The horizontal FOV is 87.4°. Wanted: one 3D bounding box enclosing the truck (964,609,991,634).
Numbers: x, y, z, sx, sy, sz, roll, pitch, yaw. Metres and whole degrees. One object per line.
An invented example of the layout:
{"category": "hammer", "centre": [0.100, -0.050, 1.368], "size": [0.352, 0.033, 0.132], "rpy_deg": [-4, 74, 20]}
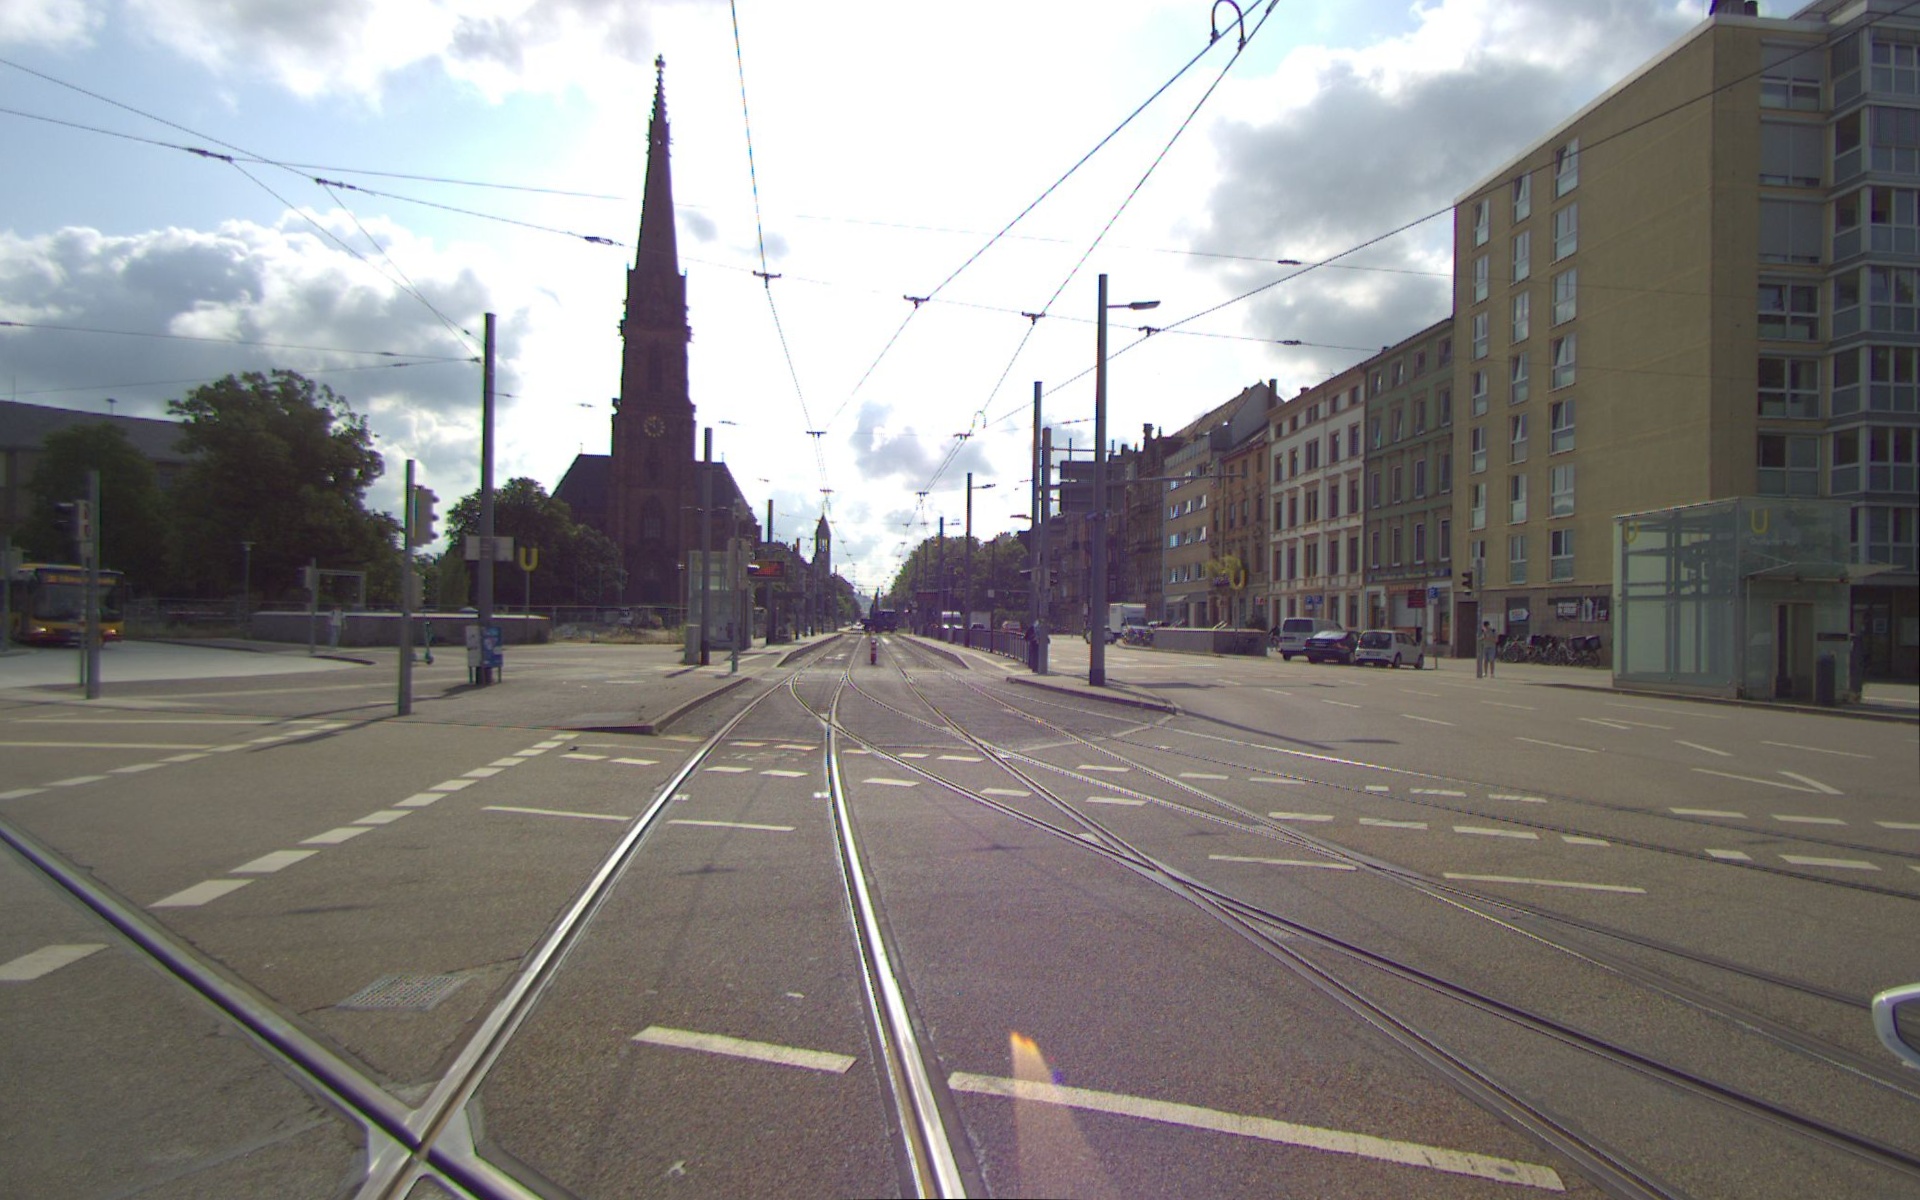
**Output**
{"category": "truck", "centre": [2.468, 3.051, 141.714], "size": [3.119, 3.328, 7.294], "rpy_deg": [1, -3, -4]}

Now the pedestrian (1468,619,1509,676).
{"category": "pedestrian", "centre": [16.954, 1.506, 32.228], "size": [0.983, 1.783, 0.780], "rpy_deg": [1, -1, -30]}

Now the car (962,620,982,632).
{"category": "car", "centre": [1.431, 3.187, 123.657], "size": [1.963, 1.528, 3.996], "rpy_deg": [1, -1, -7]}

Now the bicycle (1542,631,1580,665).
{"category": "bicycle", "centre": [24.508, 1.949, 41.018], "size": [0.538, 1.218, 1.645], "rpy_deg": [-1, 2, -1]}

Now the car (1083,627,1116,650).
{"category": "car", "centre": [11.284, 3.084, 81.630], "size": [1.762, 1.456, 4.340], "rpy_deg": [-4, 1, -3]}

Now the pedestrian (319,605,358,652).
{"category": "pedestrian", "centre": [-23.830, 1.076, 38.509], "size": [1.079, 1.712, 0.926], "rpy_deg": [3, 3, 36]}

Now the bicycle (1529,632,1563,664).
{"category": "bicycle", "centre": [24.943, 2.027, 42.782], "size": [0.478, 1.218, 1.645], "rpy_deg": [-1, 2, -1]}

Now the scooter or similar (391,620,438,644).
{"category": "scooter or similar", "centre": [-22.734, 1.336, 41.887], "size": [0.466, 0.962, 1.656], "rpy_deg": [0, -1, 39]}

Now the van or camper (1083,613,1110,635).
{"category": "van or camper", "centre": [16.178, 2.838, 119.435], "size": [1.962, 2.507, 5.561], "rpy_deg": [1, -1, -5]}

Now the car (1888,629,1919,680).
{"category": "car", "centre": [31.754, 1.778, 30.981], "size": [1.963, 1.606, 4.387], "rpy_deg": [2, 0, -7]}

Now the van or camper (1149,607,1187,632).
{"category": "van or camper", "centre": [19.464, 1.788, 94.166], "size": [1.962, 1.930, 5.292], "rpy_deg": [-3, 2, -5]}

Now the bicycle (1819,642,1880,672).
{"category": "bicycle", "centre": [31.452, 2.007, 35.519], "size": [1.749, 1.033, 0.680], "rpy_deg": [1, -1, -11]}

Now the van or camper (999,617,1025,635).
{"category": "van or camper", "centre": [5.803, 2.940, 112.946], "size": [1.979, 1.939, 4.517], "rpy_deg": [2, -2, -9]}

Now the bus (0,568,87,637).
{"category": "bus", "centre": [-37.747, 0.138, 40.697], "size": [4.999, 2.621, 2.690], "rpy_deg": [0, -1, 38]}

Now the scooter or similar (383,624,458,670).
{"category": "scooter or similar", "centre": [-15.146, 1.316, 28.241], "size": [1.313, 1.204, 1.494], "rpy_deg": [1, -2, -3]}

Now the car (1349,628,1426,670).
{"category": "car", "centre": [17.128, 1.912, 40.155], "size": [1.696, 1.460, 3.491], "rpy_deg": [2, 2, 43]}

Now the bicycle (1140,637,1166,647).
{"category": "bicycle", "centre": [13.725, 3.002, 71.487], "size": [0.634, 0.594, 1.747], "rpy_deg": [-3, 2, -45]}

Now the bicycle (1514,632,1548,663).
{"category": "bicycle", "centre": [24.405, 2.021, 42.940], "size": [0.478, 1.218, 1.645], "rpy_deg": [-1, 2, -1]}

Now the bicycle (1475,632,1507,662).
{"category": "bicycle", "centre": [24.108, 2.118, 45.635], "size": [0.478, 1.218, 1.643], "rpy_deg": [-1, 2, -5]}

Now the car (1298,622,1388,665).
{"category": "car", "centre": [16.411, 1.815, 42.930], "size": [1.864, 1.488, 5.035], "rpy_deg": [1, 2, 43]}

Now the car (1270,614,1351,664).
{"category": "car", "centre": [16.474, 1.780, 47.065], "size": [2.048, 2.113, 4.876], "rpy_deg": [1, 1, 40]}

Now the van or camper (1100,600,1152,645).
{"category": "van or camper", "centre": [13.898, 1.781, 84.569], "size": [2.669, 3.376, 7.634], "rpy_deg": [-1, 2, -4]}

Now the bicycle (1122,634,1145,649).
{"category": "bicycle", "centre": [13.248, 3.157, 76.877], "size": [1.736, 1.100, 0.371], "rpy_deg": [0, 3, -18]}

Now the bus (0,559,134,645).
{"category": "bus", "centre": [-33.041, 0.103, 36.971], "size": [6.990, 2.871, 2.689], "rpy_deg": [0, -1, 39]}

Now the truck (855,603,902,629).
{"category": "truck", "centre": [-11.941, 2.355, 146.781], "size": [7.338, 3.697, 2.459], "rpy_deg": [0, -1, 41]}

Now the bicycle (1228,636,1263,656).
{"category": "bicycle", "centre": [15.231, 2.456, 53.535], "size": [1.747, 1.017, 0.511], "rpy_deg": [2, 2, -13]}

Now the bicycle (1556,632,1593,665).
{"category": "bicycle", "centre": [25.061, 1.961, 40.994], "size": [0.478, 1.218, 1.645], "rpy_deg": [-1, 2, -1]}

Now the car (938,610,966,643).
{"category": "car", "centre": [-0.752, 2.355, 91.541], "size": [1.962, 2.657, 5.574], "rpy_deg": [-2, 2, -6]}

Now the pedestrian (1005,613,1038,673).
{"category": "pedestrian", "centre": [1.823, 1.269, 29.851], "size": [0.829, 1.696, 0.794], "rpy_deg": [-1, 2, -7]}

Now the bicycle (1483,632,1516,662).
{"category": "bicycle", "centre": [24.553, 2.132, 45.726], "size": [0.478, 1.218, 1.643], "rpy_deg": [-1, 2, -5]}
